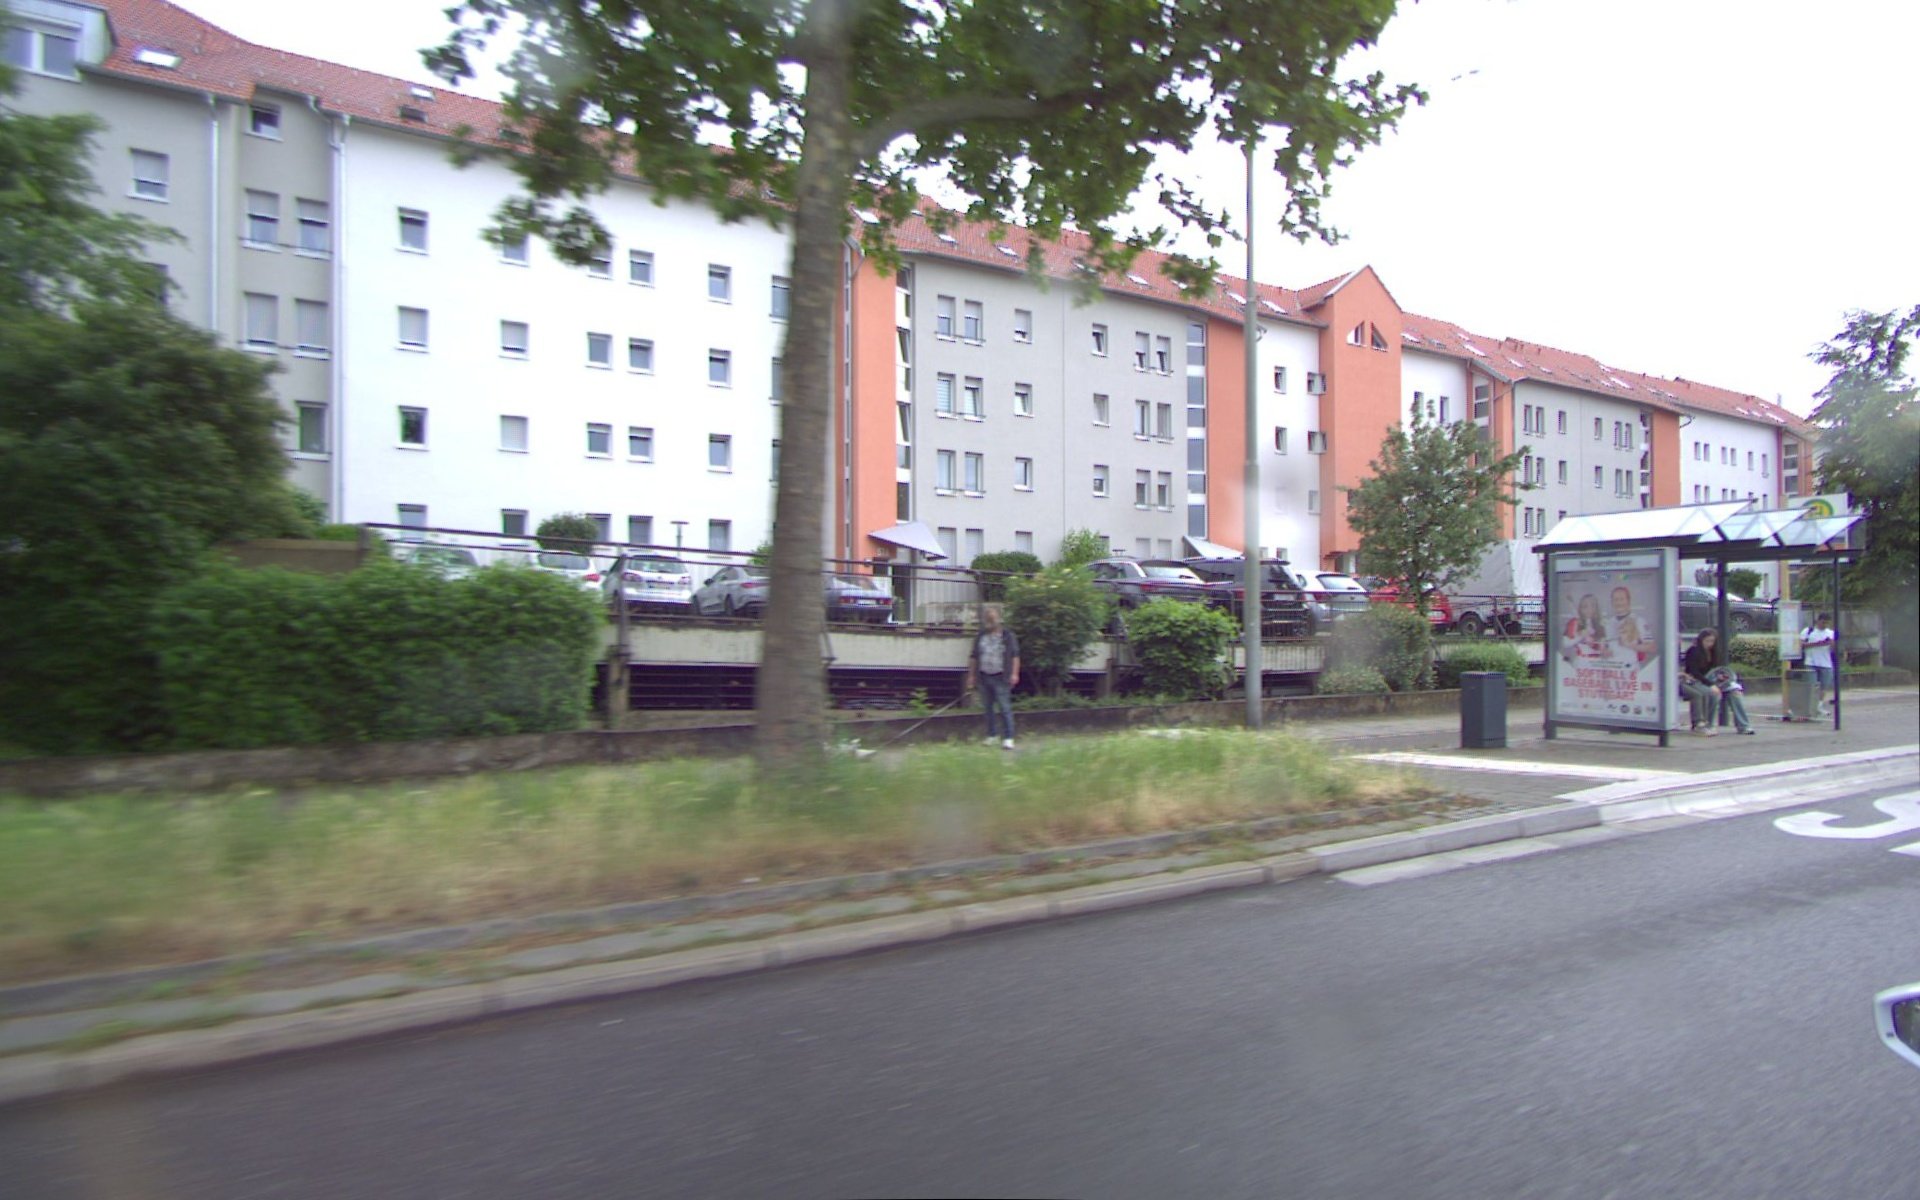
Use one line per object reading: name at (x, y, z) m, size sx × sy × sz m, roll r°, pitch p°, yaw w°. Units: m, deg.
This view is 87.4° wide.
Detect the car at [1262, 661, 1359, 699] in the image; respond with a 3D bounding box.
car at (12.343, 2.781, 35.524) m, size 1.360 × 1.097 × 3.184 m, roll 1°, pitch -1°, yaw -29°

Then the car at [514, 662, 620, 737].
car at (-9.649, 2.336, 24.486) m, size 2.038 × 1.415 × 3.972 m, roll 1°, pitch -1°, yaw -27°

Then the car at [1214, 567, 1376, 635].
car at (7.051, 0.005, 21.386) m, size 1.420 × 1.287 × 3.116 m, roll 3°, pitch 0°, yaw -29°

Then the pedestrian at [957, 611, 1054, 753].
pedestrian at (0.552, 0.972, 12.173) m, size 0.826 × 1.632 × 0.750 m, roll 3°, pitch 0°, yaw -34°

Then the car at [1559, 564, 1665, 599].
car at (28.400, -0.798, 43.846) m, size 1.526 × 1.412 × 3.579 m, roll 3°, pitch 0°, yaw -31°

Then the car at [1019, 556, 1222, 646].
car at (2.996, 0.006, 19.380) m, size 1.878 × 1.518 × 3.631 m, roll 3°, pitch 0°, yaw -33°

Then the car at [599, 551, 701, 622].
car at (-7.589, -0.319, 24.351) m, size 1.663 × 1.527 × 3.972 m, roll 3°, pitch 0°, yaw -27°

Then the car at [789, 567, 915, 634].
car at (-2.917, -0.002, 26.329) m, size 1.975 × 1.550 × 3.972 m, roll 3°, pitch 0°, yaw -27°

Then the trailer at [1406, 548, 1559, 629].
trailer at (11.744, -0.246, 22.717) m, size 1.462 × 1.667 × 2.692 m, roll 2°, pitch 0°, yaw -29°

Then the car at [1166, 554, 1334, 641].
car at (5.769, -0.055, 20.283) m, size 1.420 × 1.563 × 3.116 m, roll 3°, pitch 0°, yaw -29°

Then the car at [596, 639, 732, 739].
car at (-5.459, 1.511, 18.235) m, size 1.594 × 1.494 × 3.691 m, roll 1°, pitch -1°, yaw -29°

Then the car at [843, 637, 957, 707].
car at (-1.831, 2.054, 29.581) m, size 1.974 × 1.773 × 3.877 m, roll 1°, pitch -1°, yaw -27°

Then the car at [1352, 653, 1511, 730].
car at (12.385, 2.337, 26.578) m, size 1.685 × 1.719 × 3.493 m, roll 1°, pitch 0°, yaw -29°

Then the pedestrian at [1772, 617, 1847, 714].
pedestrian at (14.626, 1.135, 17.308) m, size 0.598 × 1.618 × 0.739 m, roll 3°, pitch -5°, yaw -26°

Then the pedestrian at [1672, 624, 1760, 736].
pedestrian at (10.015, 1.060, 13.322) m, size 0.632 × 1.436 × 0.685 m, roll 3°, pitch -4°, yaw -26°

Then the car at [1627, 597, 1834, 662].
car at (22.999, 0.843, 30.181) m, size 1.977 × 1.694 × 4.523 m, roll 3°, pitch 0°, yaw -30°

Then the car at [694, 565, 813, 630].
car at (-5.200, -0.069, 24.947) m, size 1.881 × 1.415 × 3.972 m, roll 3°, pitch 0°, yaw -27°

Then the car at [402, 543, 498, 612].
car at (-11.482, -0.488, 22.656) m, size 1.722 × 1.335 × 3.972 m, roll 3°, pitch 0°, yaw -27°

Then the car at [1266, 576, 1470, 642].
car at (9.203, 0.177, 22.997) m, size 1.788 × 1.320 × 4.069 m, roll 3°, pitch 0°, yaw -29°

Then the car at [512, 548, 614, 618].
car at (-9.389, -0.377, 23.568) m, size 1.825 × 1.433 × 3.972 m, roll 3°, pitch 0°, yaw -27°

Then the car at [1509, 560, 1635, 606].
car at (23.686, -0.656, 39.016) m, size 1.699 × 1.623 × 3.790 m, roll 3°, pitch 0°, yaw -31°

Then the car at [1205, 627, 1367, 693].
car at (8.373, 1.512, 26.098) m, size 1.571 × 1.423 × 3.950 m, roll 3°, pitch 0°, yaw -29°

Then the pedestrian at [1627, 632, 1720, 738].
pedestrian at (9.286, 1.095, 13.082) m, size 0.632 × 1.334 × 0.773 m, roll 3°, pitch -4°, yaw -26°

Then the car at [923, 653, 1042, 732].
car at (0.606, 2.720, 30.477) m, size 1.974 × 2.040 × 3.972 m, roll 1°, pitch 0°, yaw -27°
